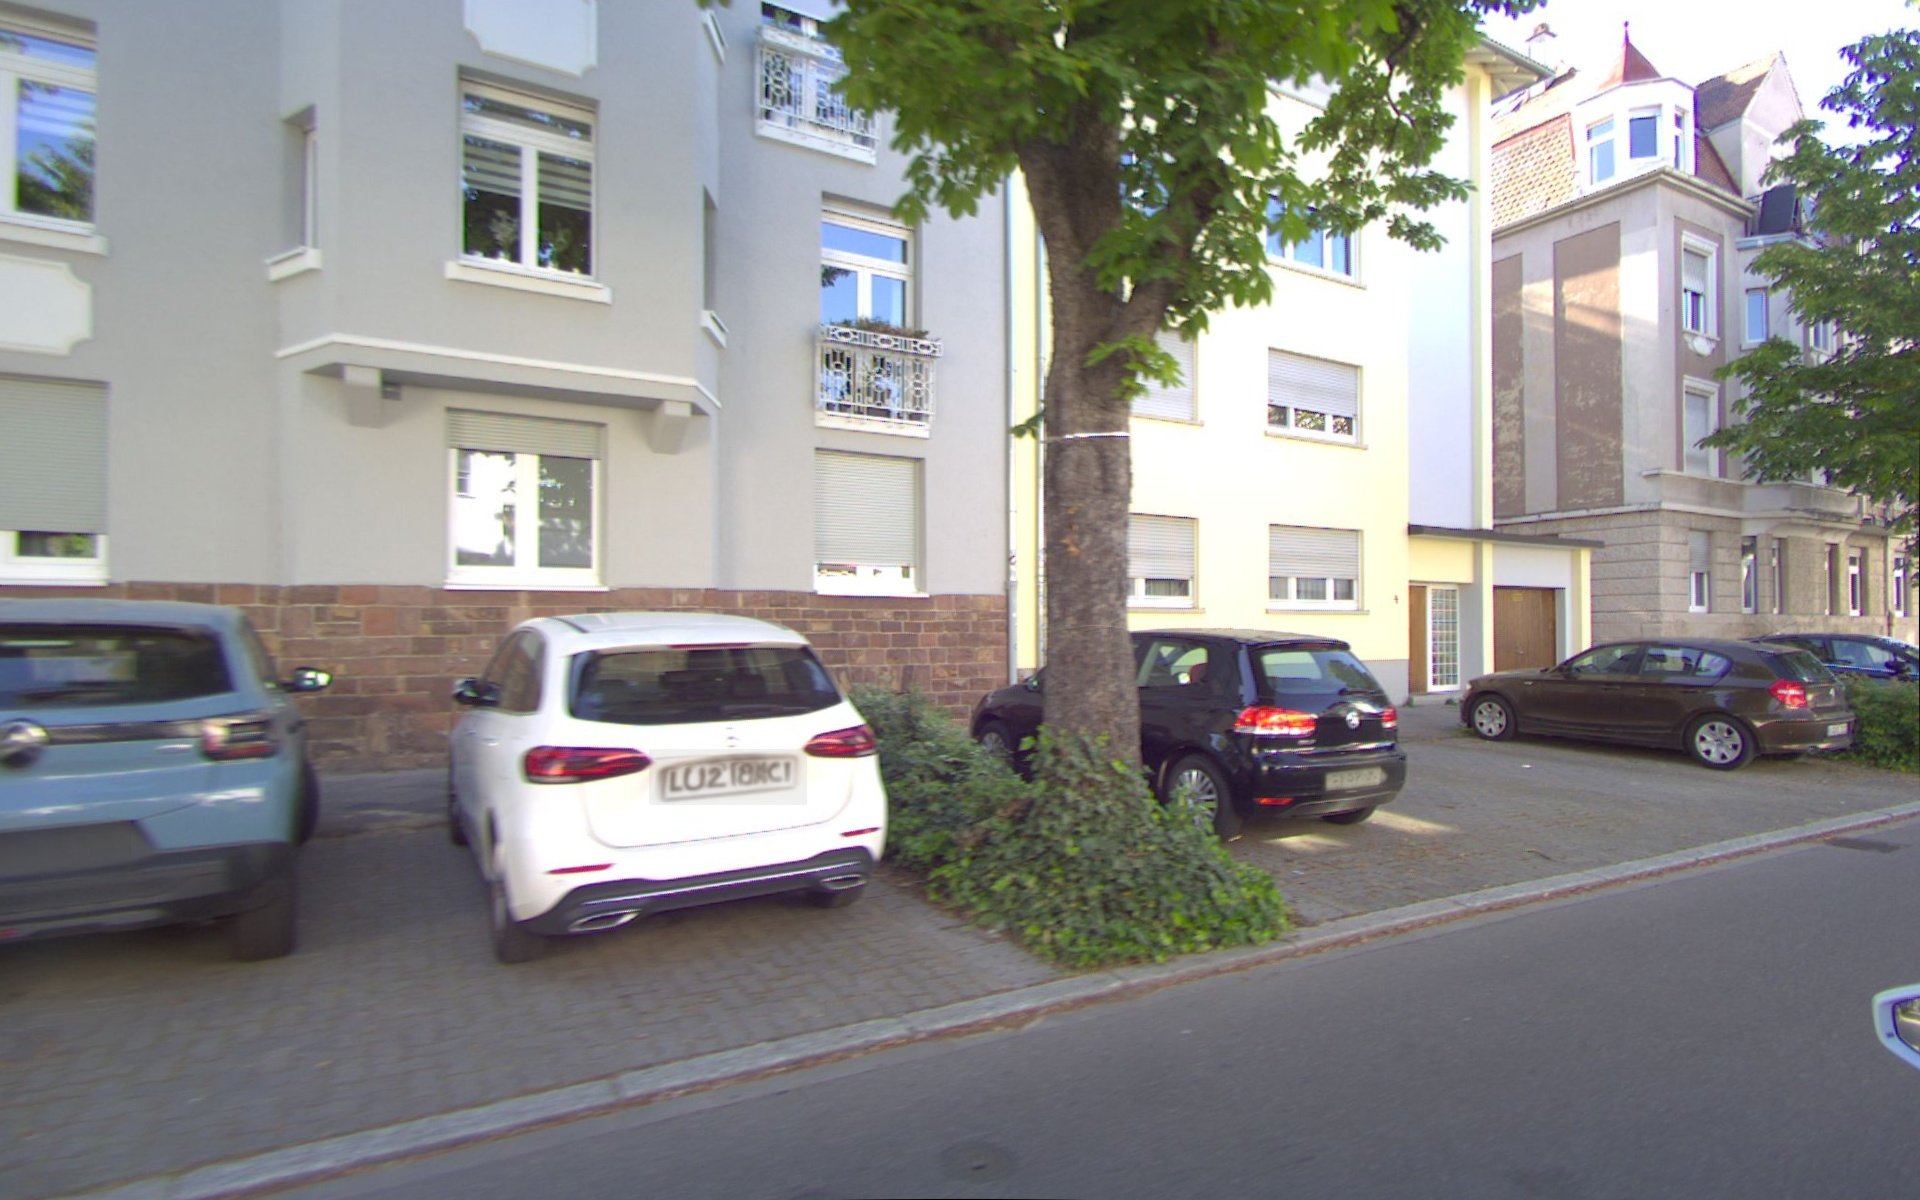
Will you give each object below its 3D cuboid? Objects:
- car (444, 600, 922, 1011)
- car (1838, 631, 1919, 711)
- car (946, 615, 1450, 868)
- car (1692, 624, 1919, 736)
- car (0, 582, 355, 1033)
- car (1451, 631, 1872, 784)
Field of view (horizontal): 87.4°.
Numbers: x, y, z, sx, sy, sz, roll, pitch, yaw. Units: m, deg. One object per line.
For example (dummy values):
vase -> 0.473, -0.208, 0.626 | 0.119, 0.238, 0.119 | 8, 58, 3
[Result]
car -> -1.950, 0.786, 5.963 | 1.785, 1.504, 4.003 | 1, 0, -30
car -> 19.513, 1.388, 18.682 | 1.848, 1.498, 4.450 | 2, -1, -31
car -> 1.672, 0.927, 8.368 | 1.779, 1.463, 4.002 | 2, 0, -31
car -> 14.232, 1.222, 15.659 | 1.981, 1.520, 4.142 | 2, -1, -37
car -> -4.221, 0.733, 5.105 | 1.753, 1.596, 3.492 | 1, 0, -34
car -> 8.488, 1.172, 12.532 | 1.750, 1.441, 3.967 | 0, 0, -30
